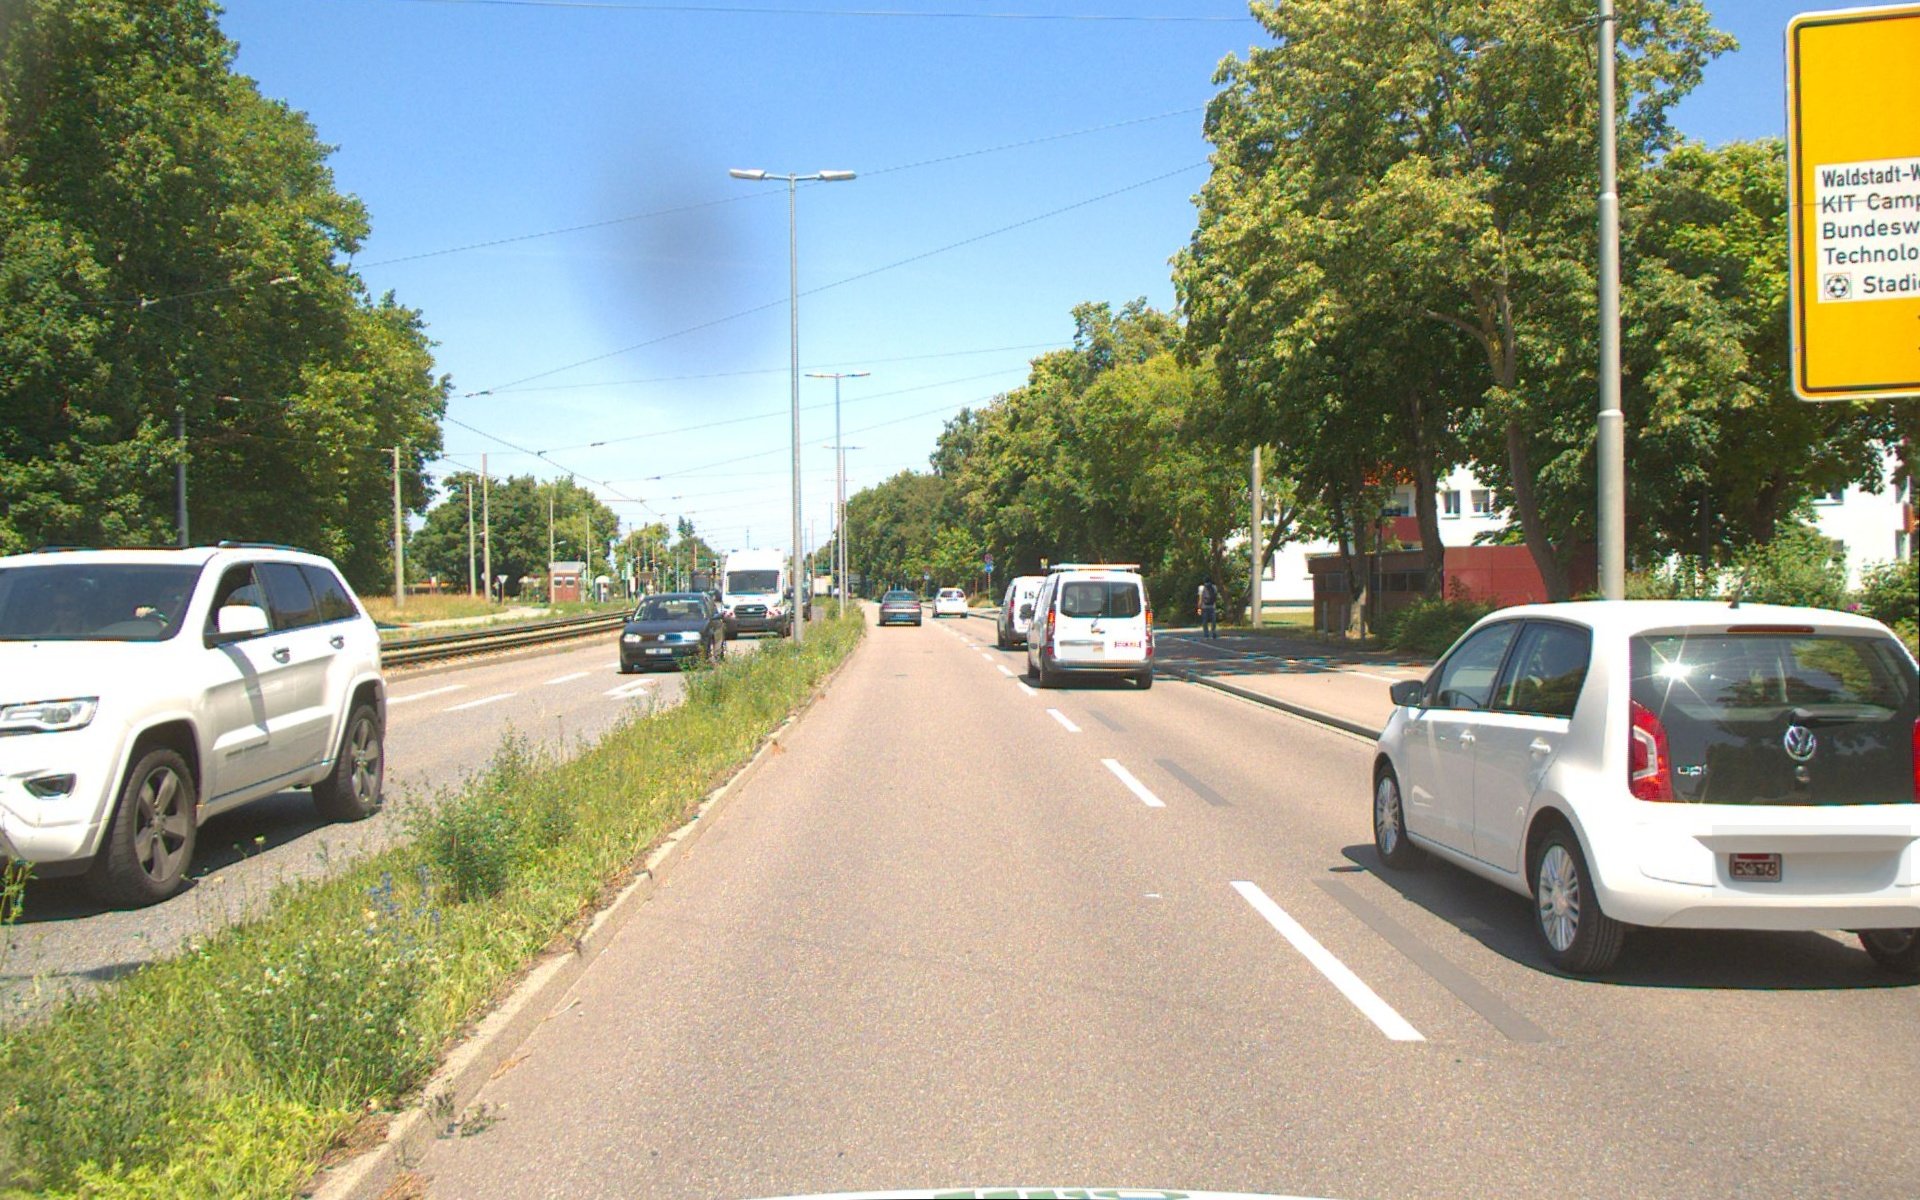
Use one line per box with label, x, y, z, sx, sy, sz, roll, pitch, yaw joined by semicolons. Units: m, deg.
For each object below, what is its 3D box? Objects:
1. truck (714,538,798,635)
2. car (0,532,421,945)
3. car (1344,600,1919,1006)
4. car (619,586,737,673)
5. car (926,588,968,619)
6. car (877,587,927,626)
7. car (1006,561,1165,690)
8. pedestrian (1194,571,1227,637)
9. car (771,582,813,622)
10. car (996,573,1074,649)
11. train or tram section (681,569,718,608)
truck;-6.333;-0.444;51.924;2.040;2.796;5.545;-2;1;-2
car;-4.757;0.601;9.459;1.862;1.778;4.586;-2;1;-1
car;3.205;0.753;8.103;1.625;1.475;3.853;0;0;-2
car;-5.362;0.512;31.839;1.682;1.484;3.912;-2;1;-2
car;-0.696;0.155;86.634;1.769;1.566;3.994;-1;0;-7
car;-2.375;0.237;67.319;1.767;1.512;3.995;-1;0;-6
car;1.944;0.359;26.907;1.789;1.914;4.449;0;0;-7
pedestrian;6.425;0.102;42.412;0.655;1.672;0.856;-1;0;-3
car;-8.040;0.077;79.567;1.793;1.786;4.485;-3;1;-4
car;1.861;0.230;41.962;1.693;1.845;3.999;0;1;-2
train or tram section;-27.859;-1.233;178.349;2.735;3.732;37.457;-1;0;-7
